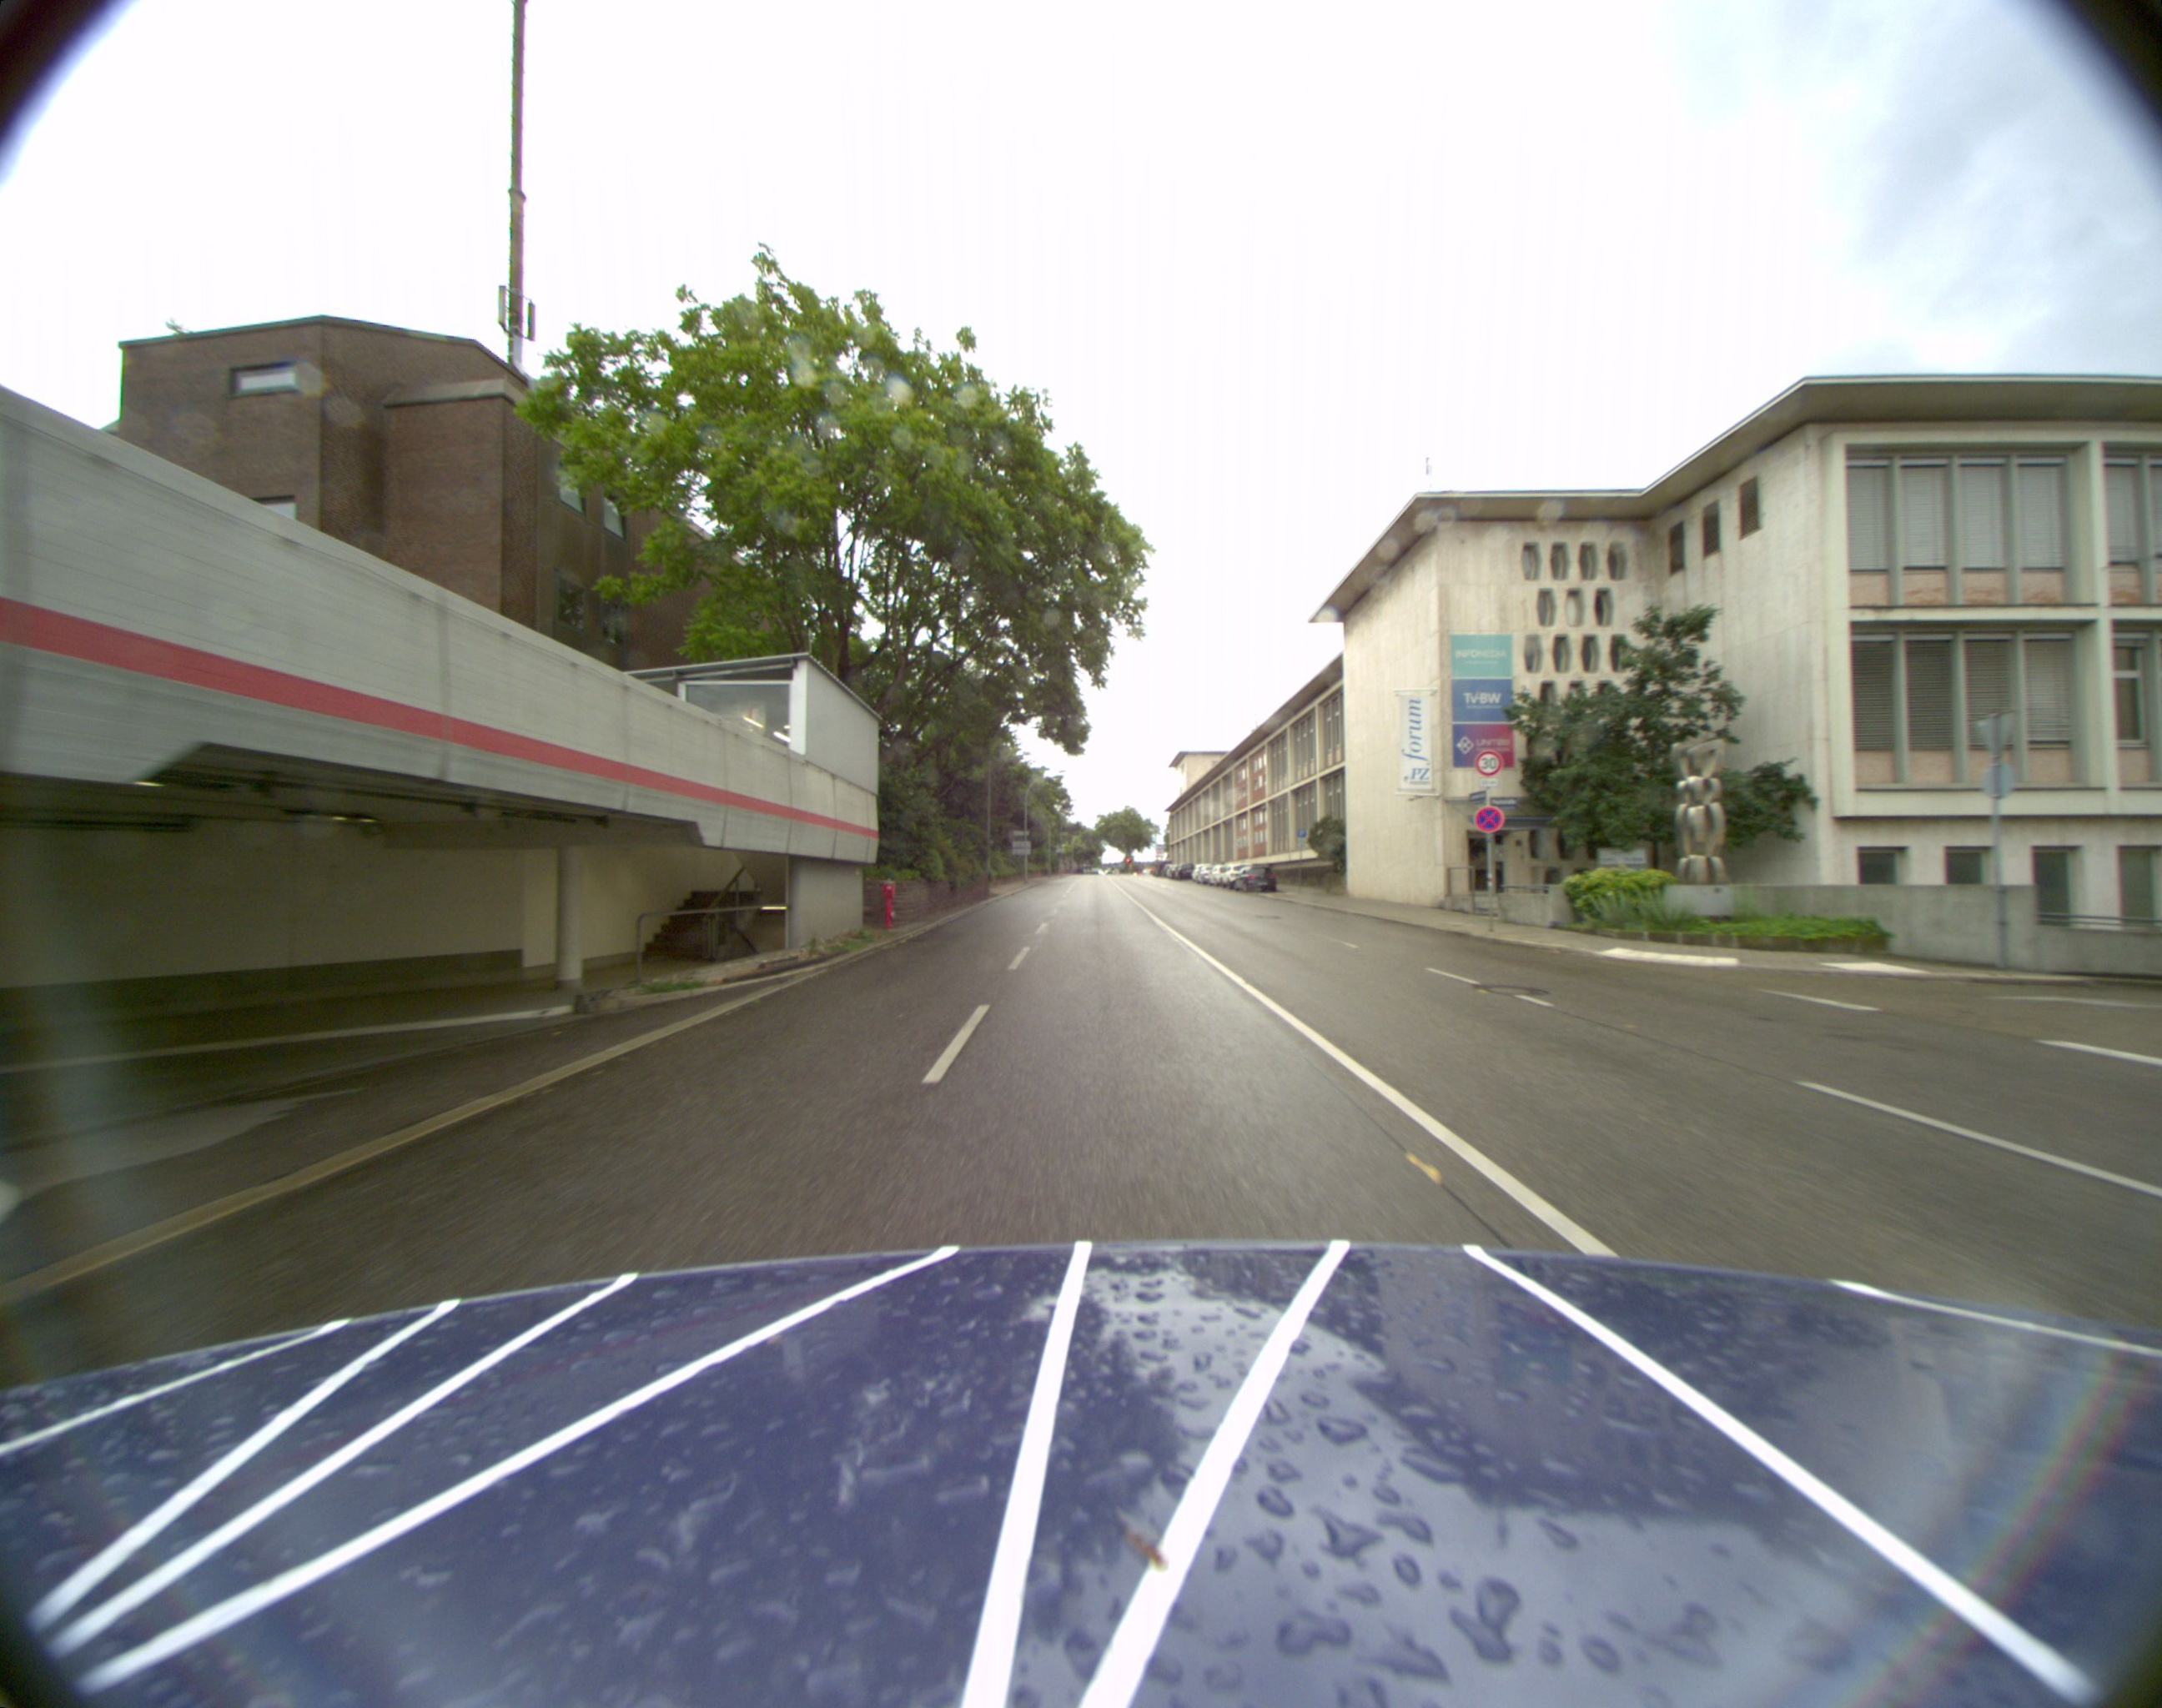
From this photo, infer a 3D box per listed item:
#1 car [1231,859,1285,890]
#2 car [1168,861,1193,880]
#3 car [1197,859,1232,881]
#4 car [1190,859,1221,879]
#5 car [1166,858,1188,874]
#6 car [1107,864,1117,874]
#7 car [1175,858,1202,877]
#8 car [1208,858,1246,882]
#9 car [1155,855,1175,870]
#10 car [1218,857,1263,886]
[{"bbox_3d":[9.977,1.113,43.174,1.999,1.520,3.999,-3,1,-1],"label":"car"},{"bbox_3d":[10.362,1.705,79.292,1.999,1.724,3.999,-3,1,-1],"label":"car"},{"bbox_3d":[10.341,1.249,58.932,1.998,1.482,4.185,-3,1,1],"label":"car"},{"bbox_3d":[10.574,1.275,64.771,1.998,1.521,3.999,-3,1,0],"label":"car"},{"bbox_3d":[10.871,1.359,85.972,1.998,1.569,4.000,-3,1,1],"label":"car"},{"bbox_3d":[6.746,3.254,165.962,1.805,2.002,3.998,-3,1,-5],"label":"car"},{"bbox_3d":[10.395,1.296,73.595,1.998,1.701,3.999,-3,1,0],"label":"car"},{"bbox_3d":[10.294,1.077,53.927,1.998,1.503,4.000,-3,1,2],"label":"car"},{"bbox_3d":[10.433,1.058,94.699,1.999,1.637,3.999,-4,2,0],"label":"car"},{"bbox_3d":[10.109,1.098,48.477,1.998,1.632,4.000,-3,1,1],"label":"car"}]
